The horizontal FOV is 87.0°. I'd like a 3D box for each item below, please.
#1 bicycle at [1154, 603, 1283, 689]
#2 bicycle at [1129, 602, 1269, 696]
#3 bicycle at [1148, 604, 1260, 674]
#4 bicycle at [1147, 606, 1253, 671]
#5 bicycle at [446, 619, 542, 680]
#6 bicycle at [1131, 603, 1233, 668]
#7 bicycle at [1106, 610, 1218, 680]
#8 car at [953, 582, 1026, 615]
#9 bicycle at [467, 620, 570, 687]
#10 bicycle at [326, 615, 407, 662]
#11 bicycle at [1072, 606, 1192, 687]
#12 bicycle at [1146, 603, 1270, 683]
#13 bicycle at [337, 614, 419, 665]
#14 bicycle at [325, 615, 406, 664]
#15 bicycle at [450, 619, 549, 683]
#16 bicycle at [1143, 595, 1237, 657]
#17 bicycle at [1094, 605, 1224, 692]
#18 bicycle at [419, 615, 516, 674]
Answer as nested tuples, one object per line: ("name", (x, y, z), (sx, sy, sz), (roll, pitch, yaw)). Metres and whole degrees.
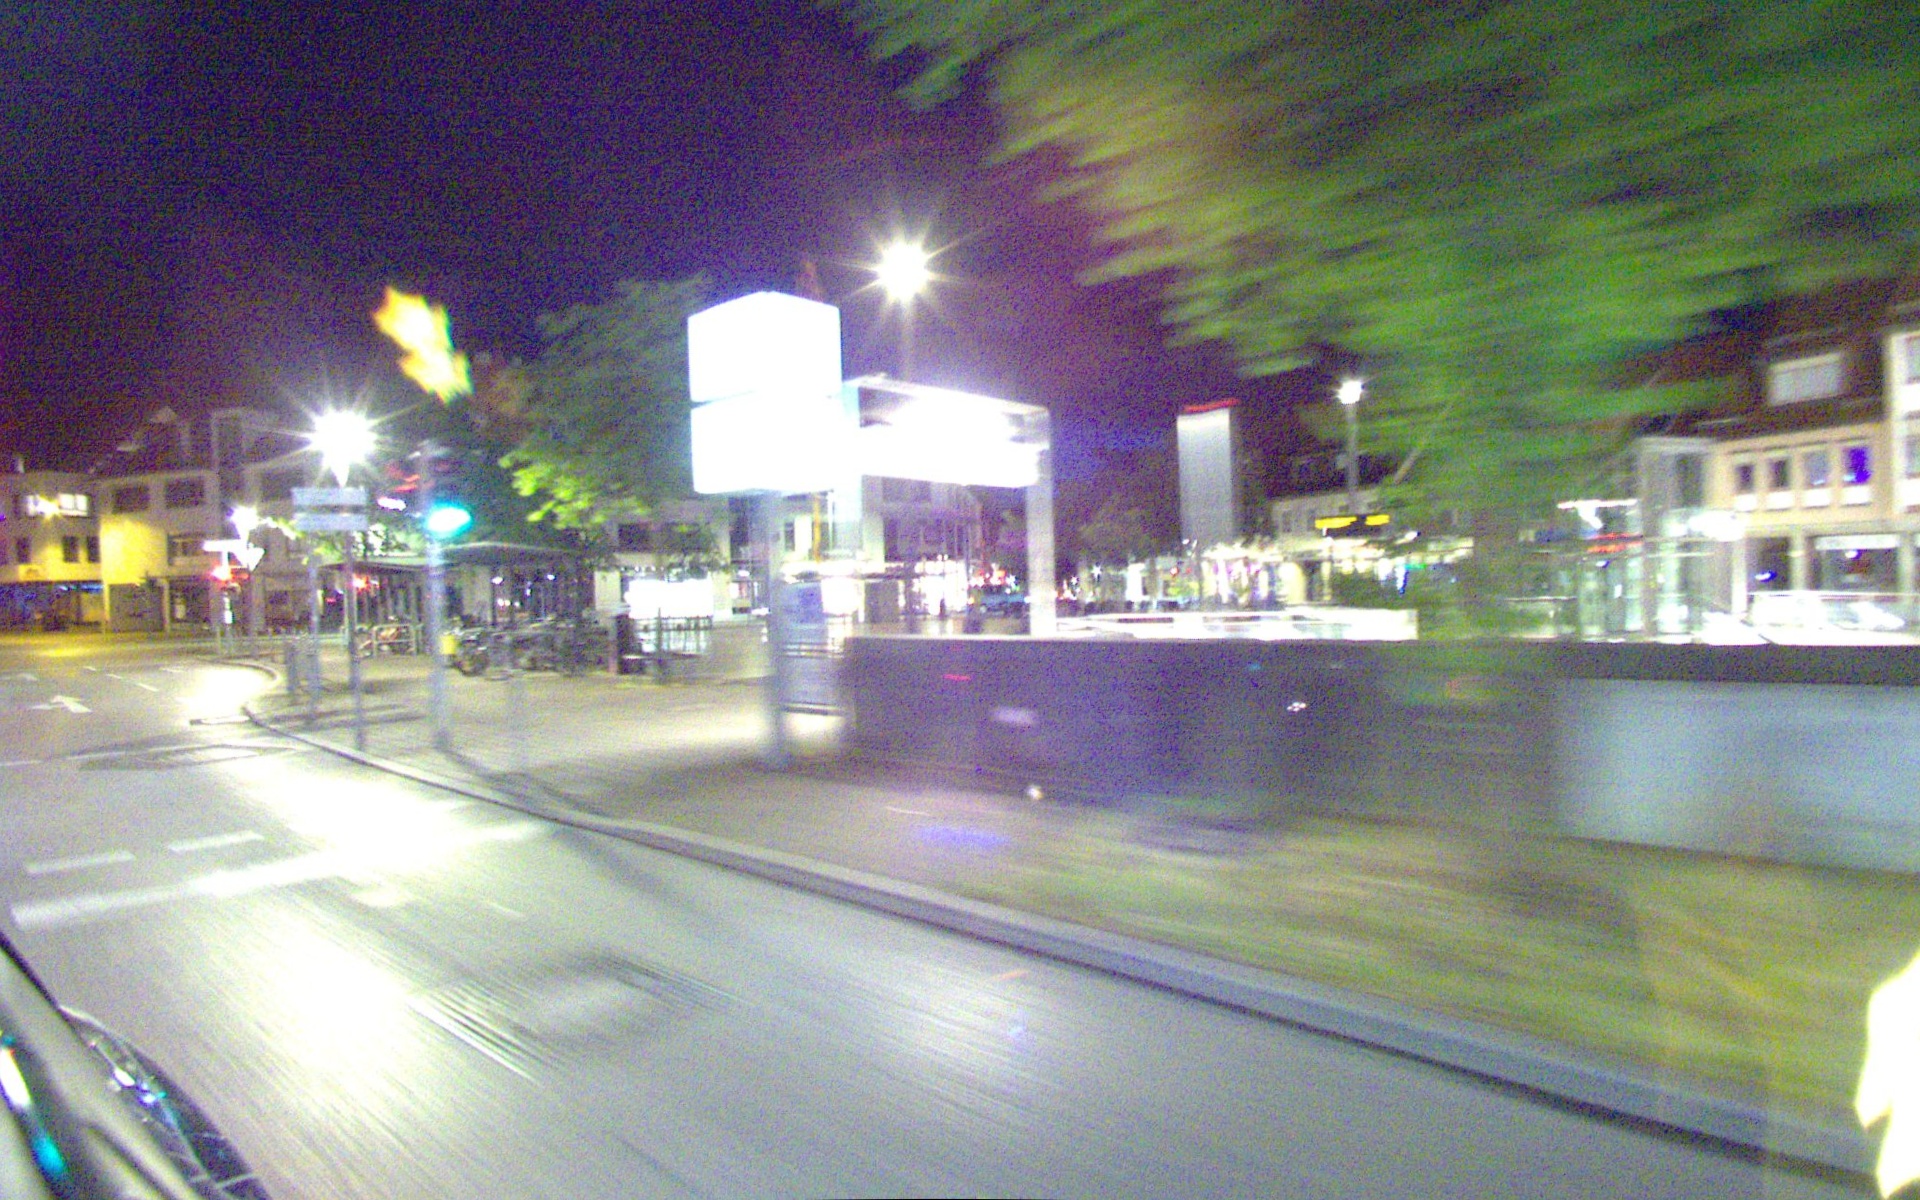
("bicycle", (3.715, 0.659, 14.629), (1.729, 1.174, 0.606), (-2, -1, 13))
("bicycle", (3.171, 0.652, 13.534), (1.729, 1.171, 0.758), (-2, -1, 13))
("bicycle", (4.141, 0.671, 17.201), (1.738, 1.133, 0.603), (-2, -1, 27))
("bicycle", (4.287, 0.693, 18.116), (1.738, 1.109, 0.603), (-2, -1, 27))
("bicycle", (-9.335, 0.968, 20.305), (0.670, 1.114, 1.598), (0, 1, 44))
("bicycle", (4.151, 0.670, 18.924), (1.738, 1.174, 0.603), (-2, -1, 27))
("bicycle", (3.294, 0.739, 16.631), (1.727, 1.078, 0.607), (-2, -1, 9))
("car", (1.939, -0.101, 65.787), (4.343, 1.951, 1.966), (-1, -1, -31))
("bicycle", (-8.106, 0.955, 18.617), (0.670, 1.114, 1.598), (0, 2, 44))
("bicycle", (-16.792, 1.072, 28.636), (1.811, 1.166, 0.788), (-5, 3, -40))
("bicycle", (2.637, 0.712, 15.508), (1.729, 1.174, 0.606), (-2, -1, 13))
("bicycle", (3.800, 0.669, 15.548), (1.739, 1.174, 0.603), (-2, -1, 28))
("bicycle", (-15.349, 1.031, 26.710), (1.713, 1.175, 0.788), (-5, 2, -40))
("bicycle", (-16.100, 1.055, 27.420), (1.713, 1.166, 0.788), (-5, 3, -40))
("bicycle", (-8.922, 0.964, 19.651), (0.670, 1.114, 1.598), (0, 1, 44))
("bicycle", (4.712, 0.541, 20.772), (1.738, 1.228, 0.603), (-2, -1, 27))
("bicycle", (2.812, 0.689, 14.338), (1.729, 1.163, 0.543), (-2, -1, 13))
("bicycle", (-10.653, 0.946, 21.916), (0.670, 1.173, 1.749), (-1, 0, 44))
